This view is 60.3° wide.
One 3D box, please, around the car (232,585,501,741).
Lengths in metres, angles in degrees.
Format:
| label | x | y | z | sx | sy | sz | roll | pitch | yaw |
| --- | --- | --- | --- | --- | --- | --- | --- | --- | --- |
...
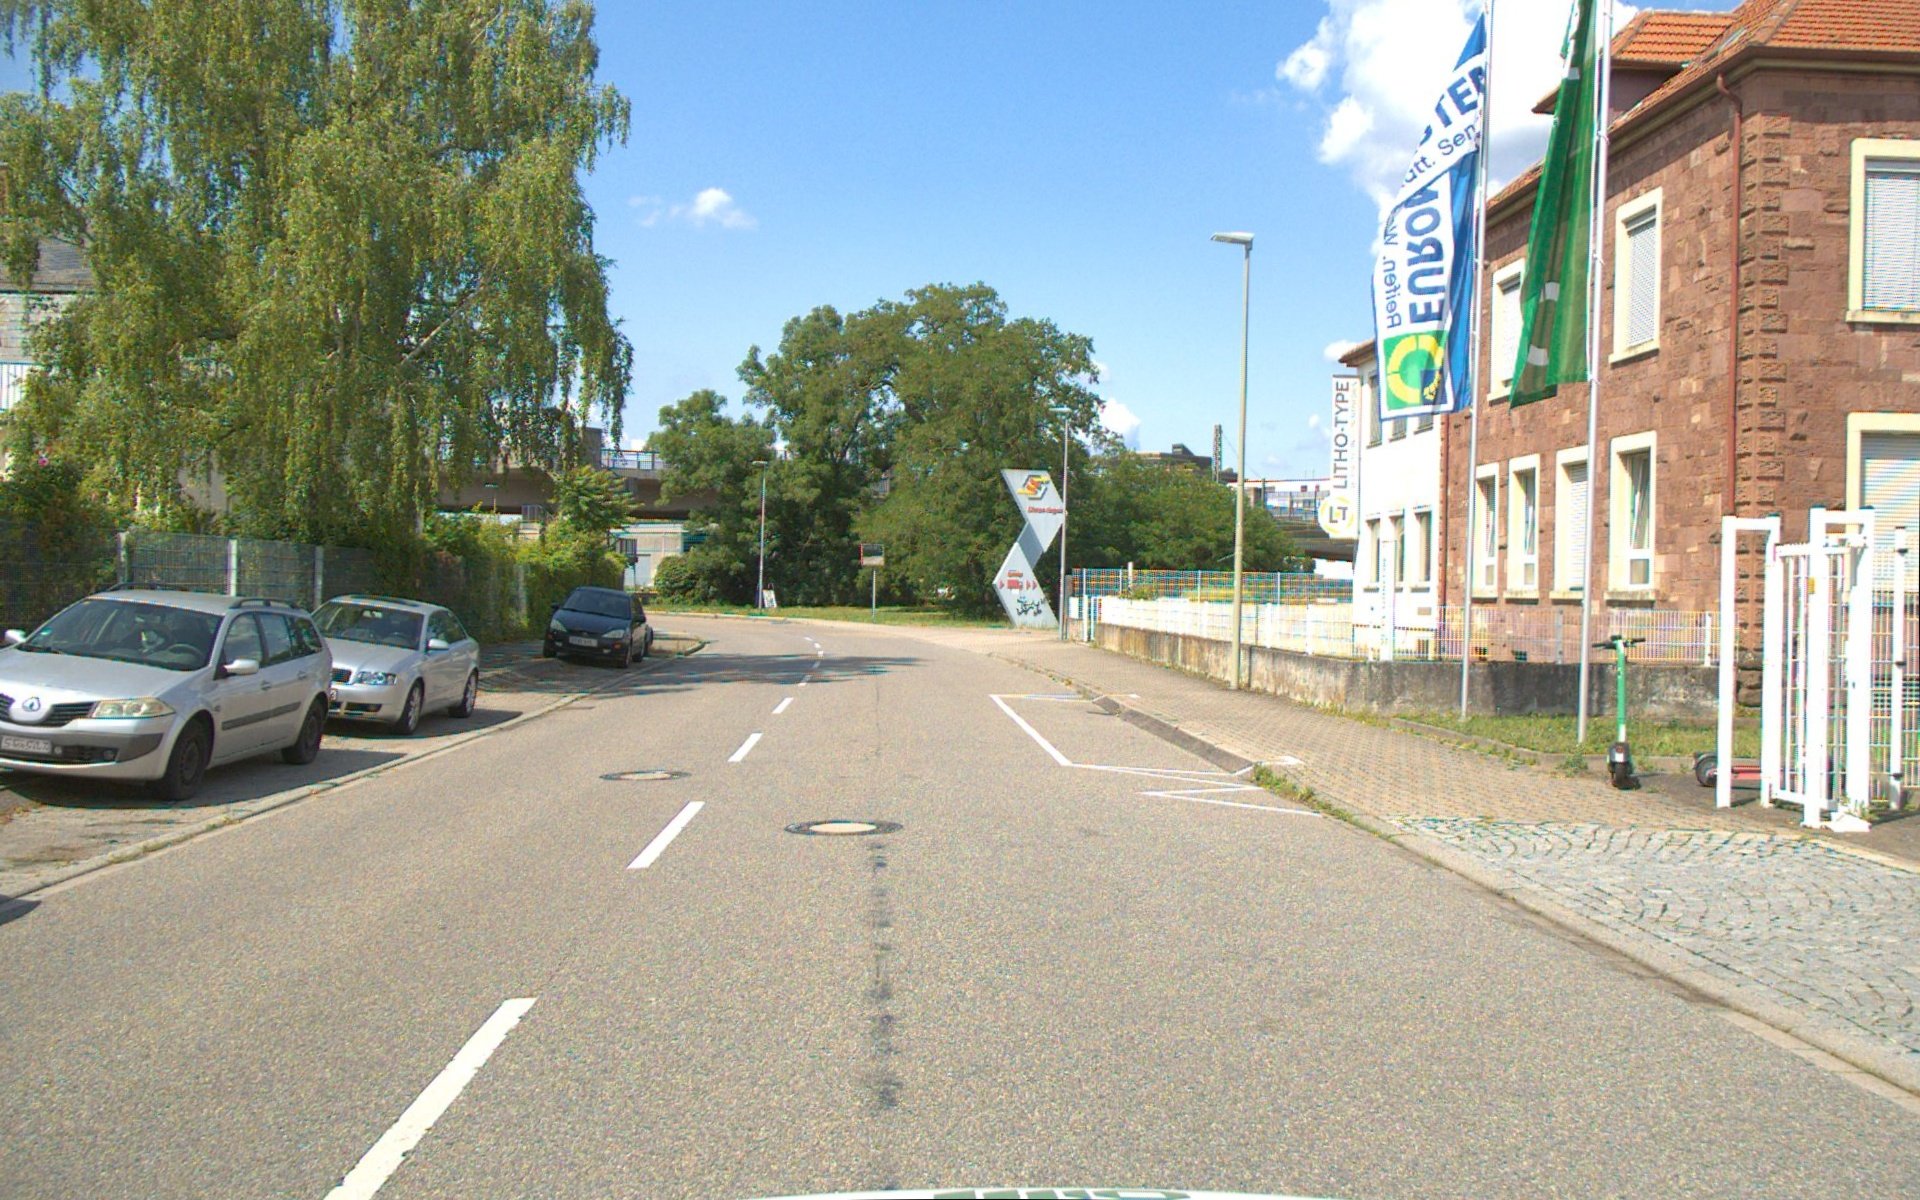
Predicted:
| label | x | y | z | sx | sy | sz | roll | pitch | yaw |
| --- | --- | --- | --- | --- | --- | --- | --- | --- | --- |
| car | -6.926 | 0.650 | 19.833 | 1.690 | 1.502 | 4.628 | 5 | 0 | -4 |

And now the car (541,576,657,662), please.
| label | x | y | z | sx | sy | sz | roll | pitch | yaw |
| --- | --- | --- | --- | --- | --- | --- | --- | --- | --- |
| car | -7.411 | 0.378 | 34.305 | 1.649 | 1.538 | 4.154 | 5 | -1 | -4 |

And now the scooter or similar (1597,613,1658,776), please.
| label | x | y | z | sx | sy | sz | roll | pitch | yaw |
| --- | --- | --- | --- | --- | --- | --- | --- | --- | --- |
| scooter or similar | 5.554 | 0.779 | 13.774 | 0.326 | 1.335 | 0.366 | 1 | 0 | -3 |

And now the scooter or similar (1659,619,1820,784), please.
| label | x | y | z | sx | sy | sz | roll | pitch | yaw |
| --- | --- | --- | --- | --- | --- | --- | --- | --- | --- |
| scooter or similar | 6.209 | 0.797 | 13.202 | 1.122 | 1.267 | 0.259 | 0 | 0 | 15 |

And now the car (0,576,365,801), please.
| label | x | y | z | sx | sy | sz | roll | pitch | yaw |
| --- | --- | --- | --- | --- | --- | --- | --- | --- | --- |
| car | -6.619 | 0.596 | 13.863 | 1.758 | 1.554 | 4.656 | 1 | 0 | -3 |

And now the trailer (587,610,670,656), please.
| label | x | y | z | sx | sy | sz | roll | pitch | yaw |
| --- | --- | --- | --- | --- | --- | --- | --- | --- | --- |
| trailer | -7.679 | 0.752 | 38.495 | 1.435 | 0.865 | 2.466 | 6 | 0 | -2 |
